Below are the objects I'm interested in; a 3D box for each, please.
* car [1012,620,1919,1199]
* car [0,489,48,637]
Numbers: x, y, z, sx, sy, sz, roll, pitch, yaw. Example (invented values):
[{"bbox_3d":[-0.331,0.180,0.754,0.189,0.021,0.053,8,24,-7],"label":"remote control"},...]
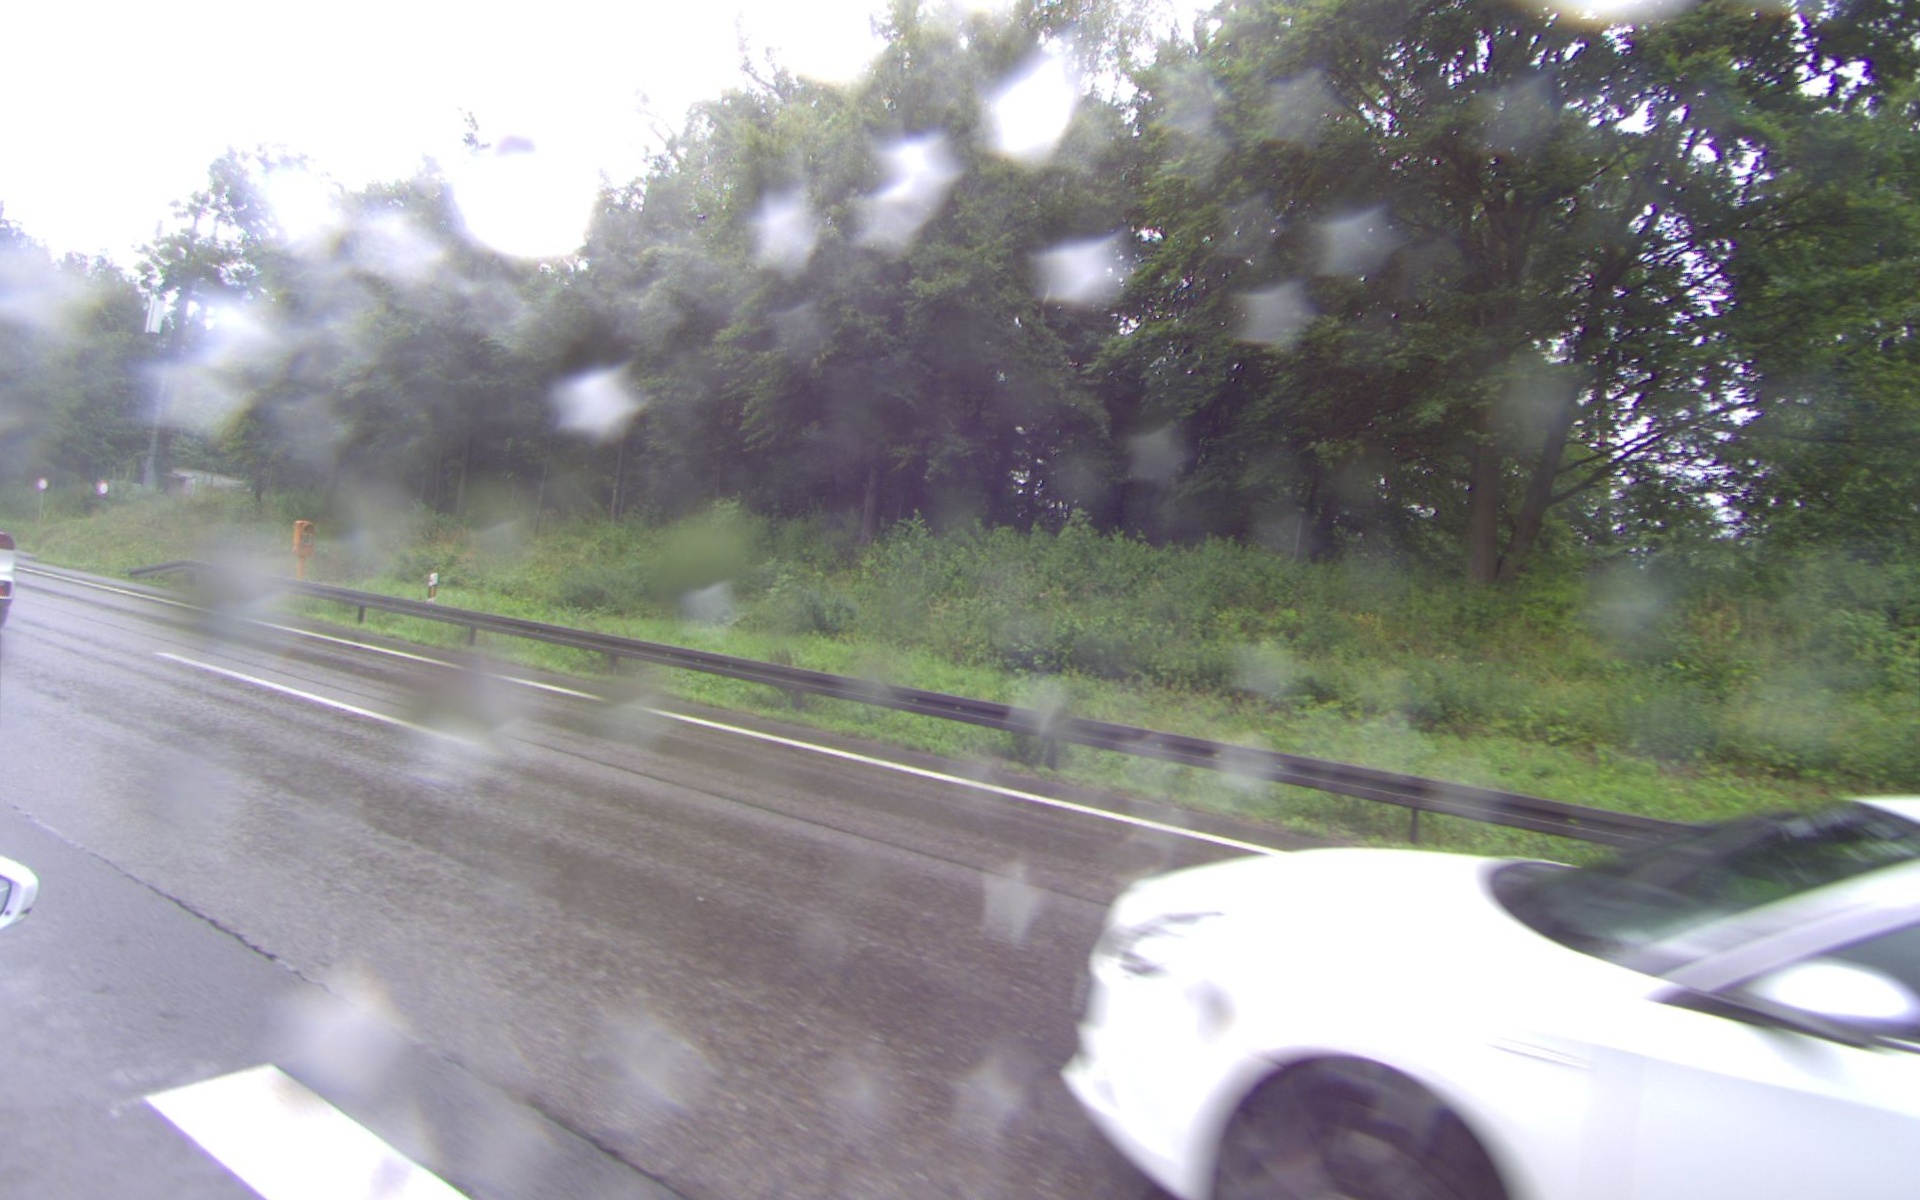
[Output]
[{"bbox_3d":[2.568,1.088,2.317,4.409,1.441,1.893,7,-2,32],"label":"car"},{"bbox_3d":[-12.290,-0.678,11.227,4.270,1.540,1.849,7,-2,31],"label":"car"}]
